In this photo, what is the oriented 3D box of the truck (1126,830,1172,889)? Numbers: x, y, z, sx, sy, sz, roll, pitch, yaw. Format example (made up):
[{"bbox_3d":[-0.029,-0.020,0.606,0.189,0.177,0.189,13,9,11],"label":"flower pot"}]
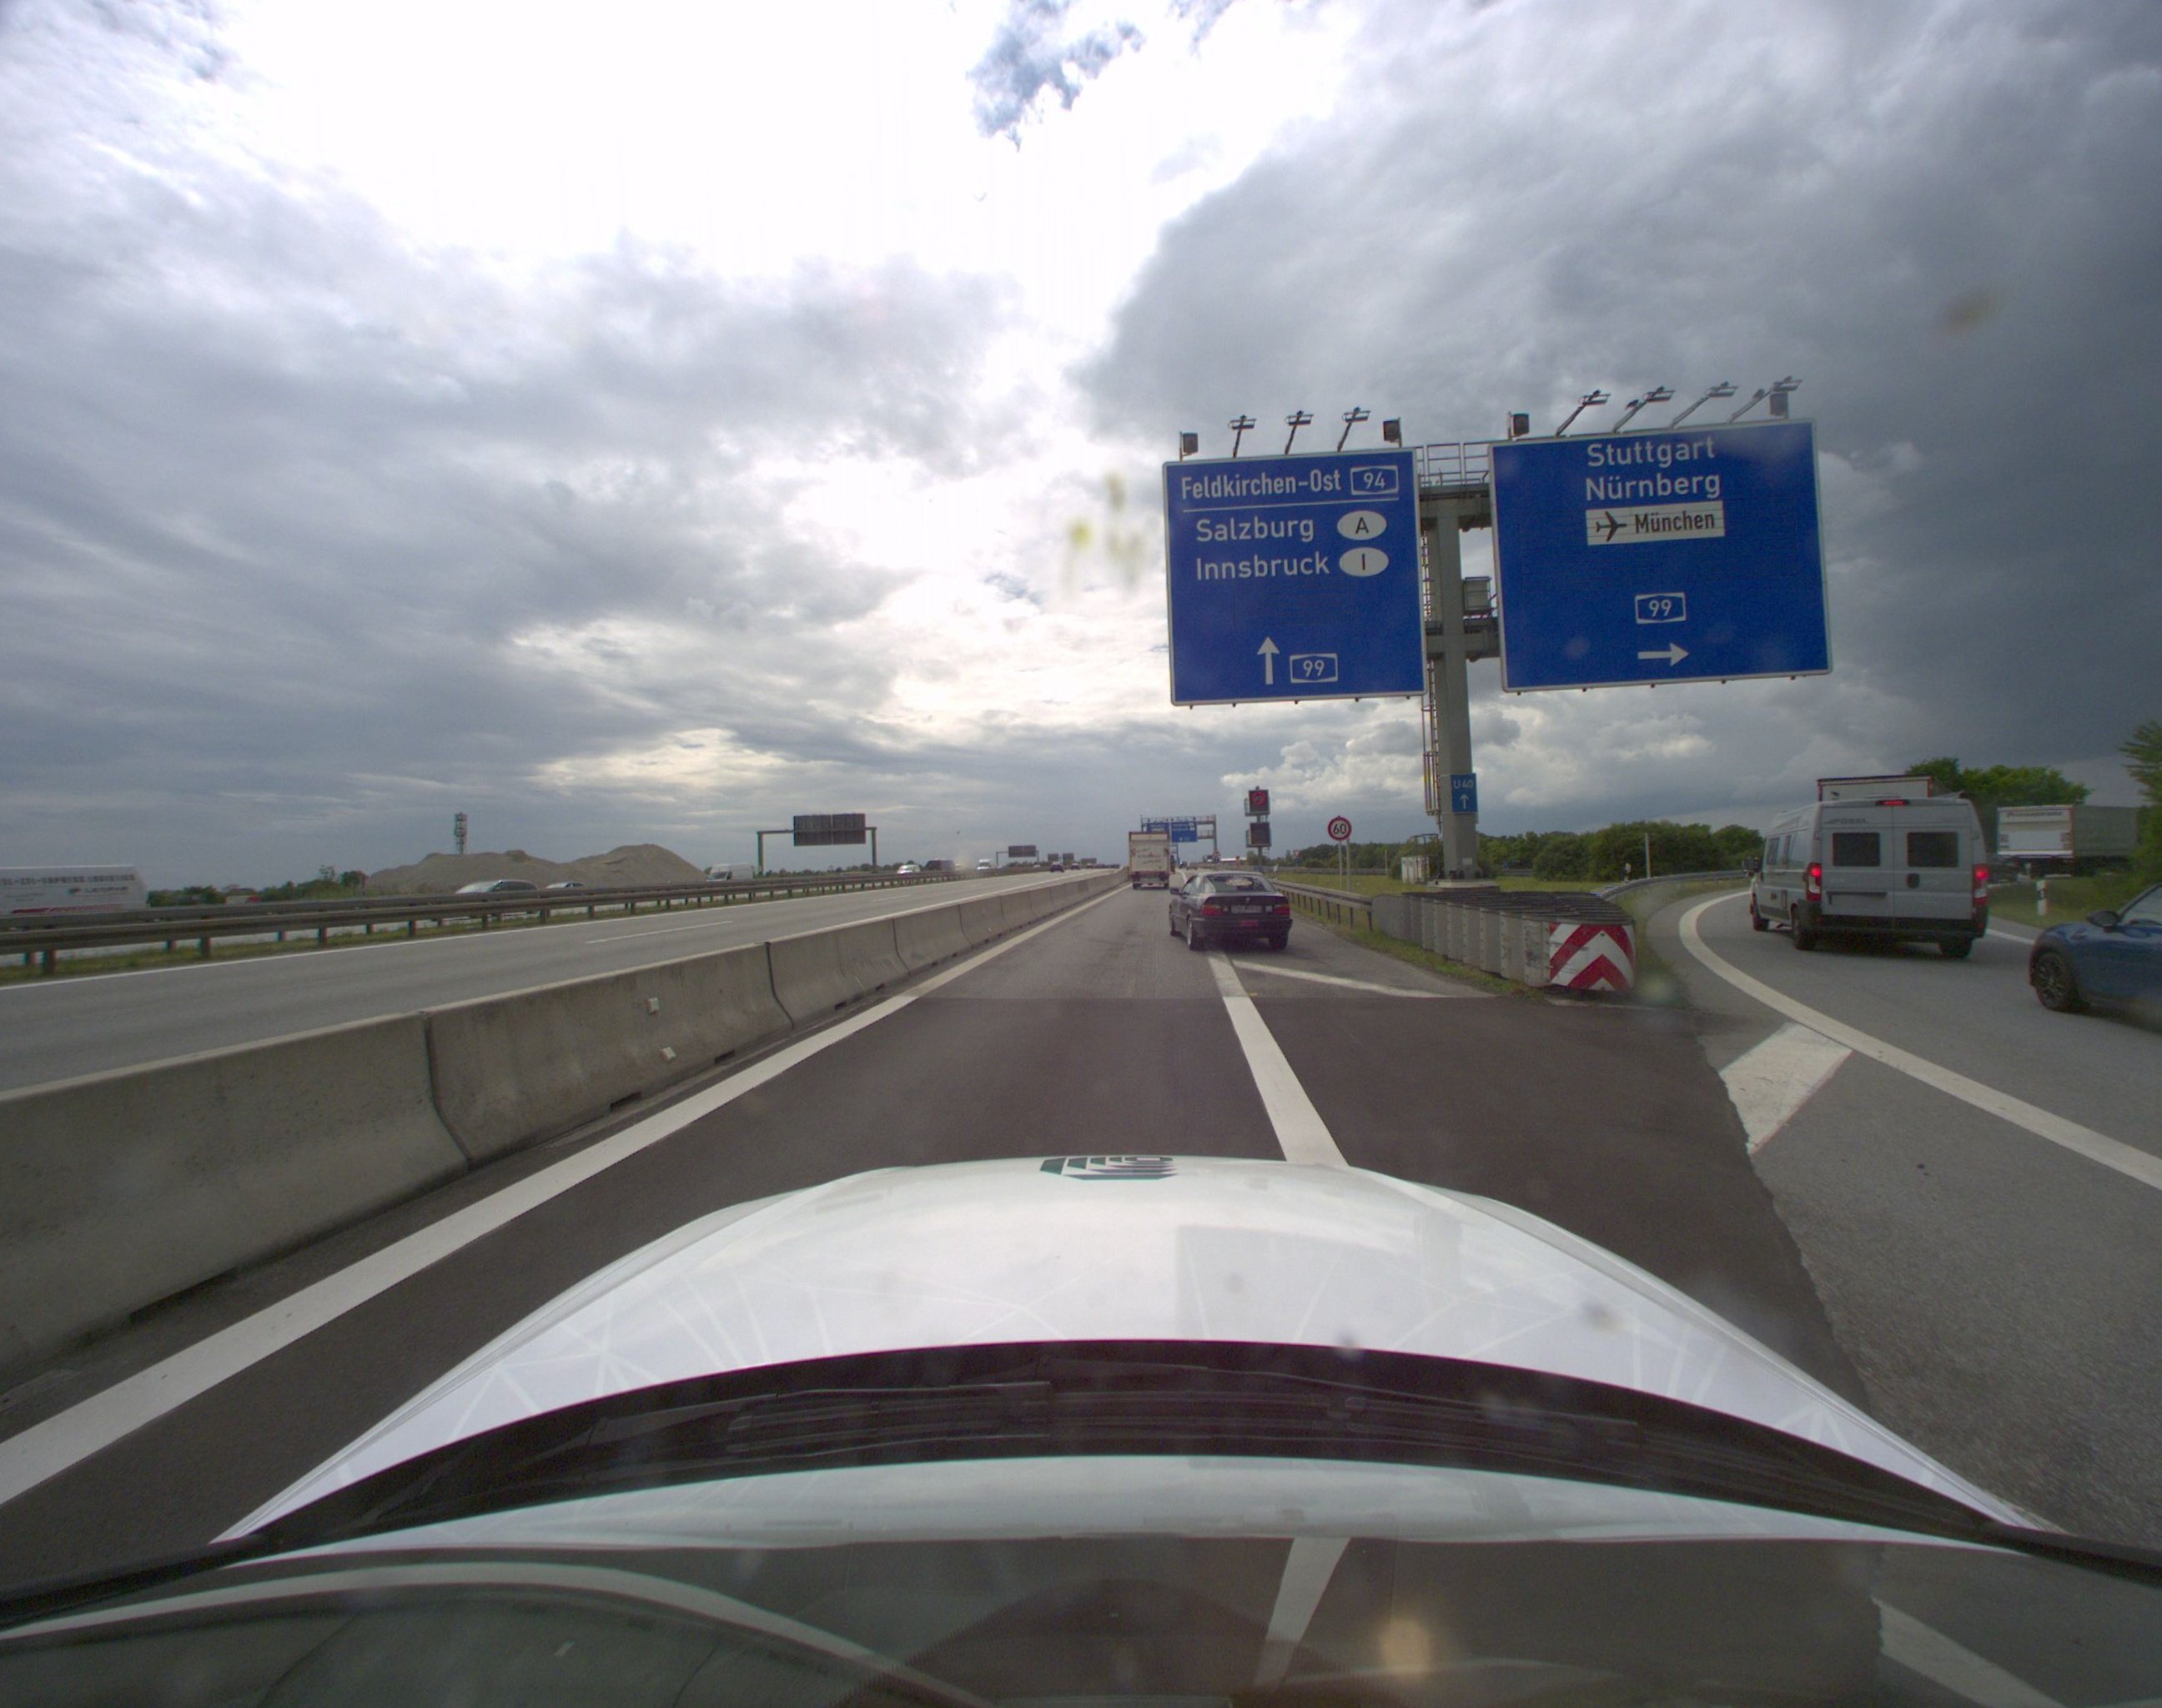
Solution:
[{"bbox_3d":[3.910,0.330,46.563,2.392,3.090,6.379,-1,-1,5],"label":"truck"}]

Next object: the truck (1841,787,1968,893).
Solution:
[{"bbox_3d":[35.382,-0.513,34.924,6.825,4.095,3.330,0,-1,-41],"label":"truck"}]

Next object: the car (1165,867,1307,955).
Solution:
[{"bbox_3d":[2.688,0.936,15.096,1.777,1.378,4.134,0,-1,-1],"label":"car"}]

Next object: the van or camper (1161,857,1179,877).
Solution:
[{"bbox_3d":[10.833,1.542,99.584,1.990,2.371,6.135,-1,-1,5],"label":"van or camper"}]

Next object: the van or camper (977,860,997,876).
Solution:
[{"bbox_3d":[-15.703,2.363,136.168,2.177,2.619,6.910,-1,-1,3],"label":"van or camper"}]

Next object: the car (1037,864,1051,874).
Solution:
[{"bbox_3d":[-6.288,2.530,138.920,1.658,1.706,4.007,-1,-1,7],"label":"car"}]

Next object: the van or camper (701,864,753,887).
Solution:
[{"bbox_3d":[-33.957,2.031,78.332,2.178,2.172,5.813,-1,-1,3],"label":"van or camper"}]

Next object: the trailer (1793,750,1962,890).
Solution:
[{"bbox_3d":[29.511,-0.987,29.853,13.101,4.193,3.301,0,-1,-41],"label":"trailer"}]

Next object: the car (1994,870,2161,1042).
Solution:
[{"bbox_3d":[10.045,0.858,6.951,1.713,1.419,3.687,-1,-1,26],"label":"car"}]

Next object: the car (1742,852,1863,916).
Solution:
[{"bbox_3d":[19.266,0.743,21.892,2.185,1.501,4.817,-2,-1,40],"label":"car"}]

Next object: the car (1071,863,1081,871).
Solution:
[{"bbox_3d":[-1.043,2.769,173.072,1.985,1.541,4.003,-1,-1,3],"label":"car"}]

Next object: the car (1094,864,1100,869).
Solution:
[{"bbox_3d":[4.997,3.887,254.059,1.985,1.398,4.003,-1,-1,3],"label":"car"}]

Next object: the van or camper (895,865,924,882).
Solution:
[{"bbox_3d":[-18.955,2.116,90.073,1.984,1.829,4.353,-1,-1,5],"label":"van or camper"}]

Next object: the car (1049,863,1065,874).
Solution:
[{"bbox_3d":[-3.757,2.253,126.531,1.985,1.662,4.388,-1,-1,4],"label":"car"}]

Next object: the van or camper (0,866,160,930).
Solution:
[{"bbox_3d":[-35.636,1.454,27.297,2.227,2.014,6.280,-1,-1,2],"label":"van or camper"}]

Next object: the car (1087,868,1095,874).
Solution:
[{"bbox_3d":[2.624,4.370,212.970,1.985,1.398,4.003,-1,-1,3],"label":"car"}]

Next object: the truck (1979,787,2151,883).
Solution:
[{"bbox_3d":[51.376,-0.927,42.504,9.001,4.616,3.258,-1,-1,-23],"label":"truck"}]

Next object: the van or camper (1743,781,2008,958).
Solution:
[{"bbox_3d":[14.120,0.252,15.016,2.271,2.568,6.200,-2,-1,33],"label":"van or camper"}]
